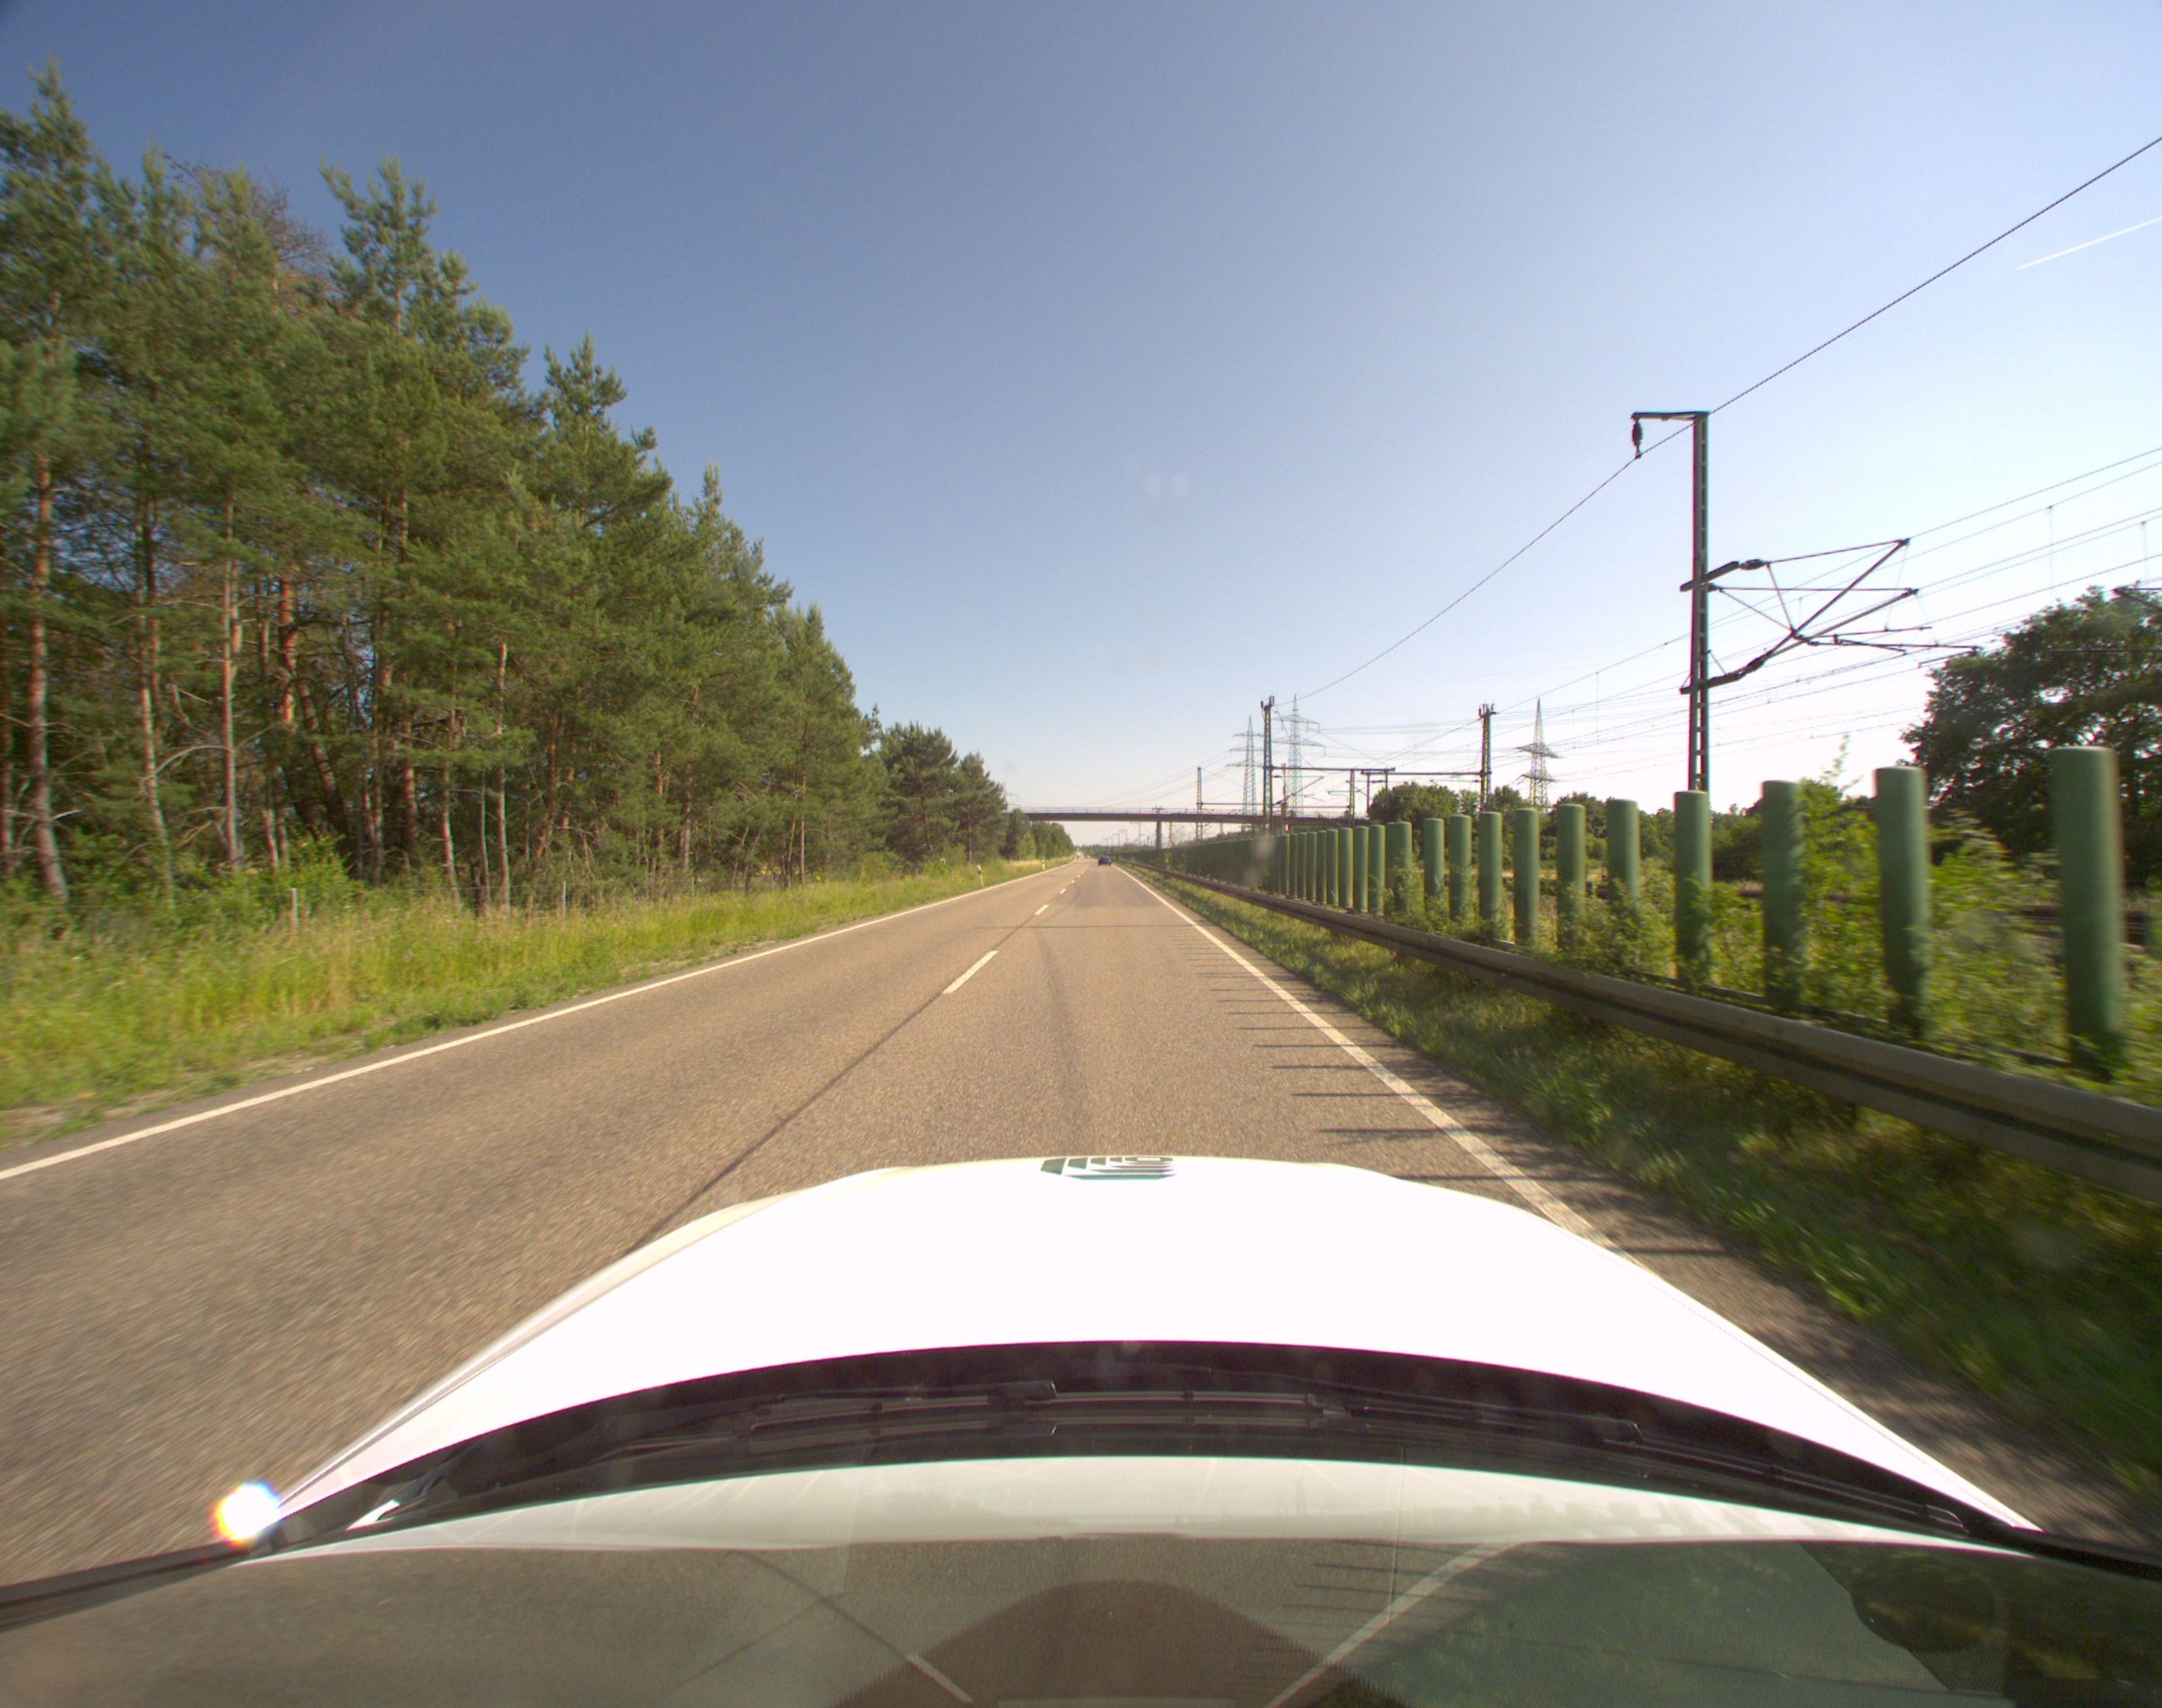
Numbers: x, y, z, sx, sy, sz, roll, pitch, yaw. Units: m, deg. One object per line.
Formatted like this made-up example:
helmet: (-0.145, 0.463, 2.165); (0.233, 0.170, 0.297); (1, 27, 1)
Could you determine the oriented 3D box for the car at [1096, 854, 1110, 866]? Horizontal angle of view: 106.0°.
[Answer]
car: (3.196, 0.826, 119.338); (1.853, 1.642, 3.999); (-2, 0, 0)
